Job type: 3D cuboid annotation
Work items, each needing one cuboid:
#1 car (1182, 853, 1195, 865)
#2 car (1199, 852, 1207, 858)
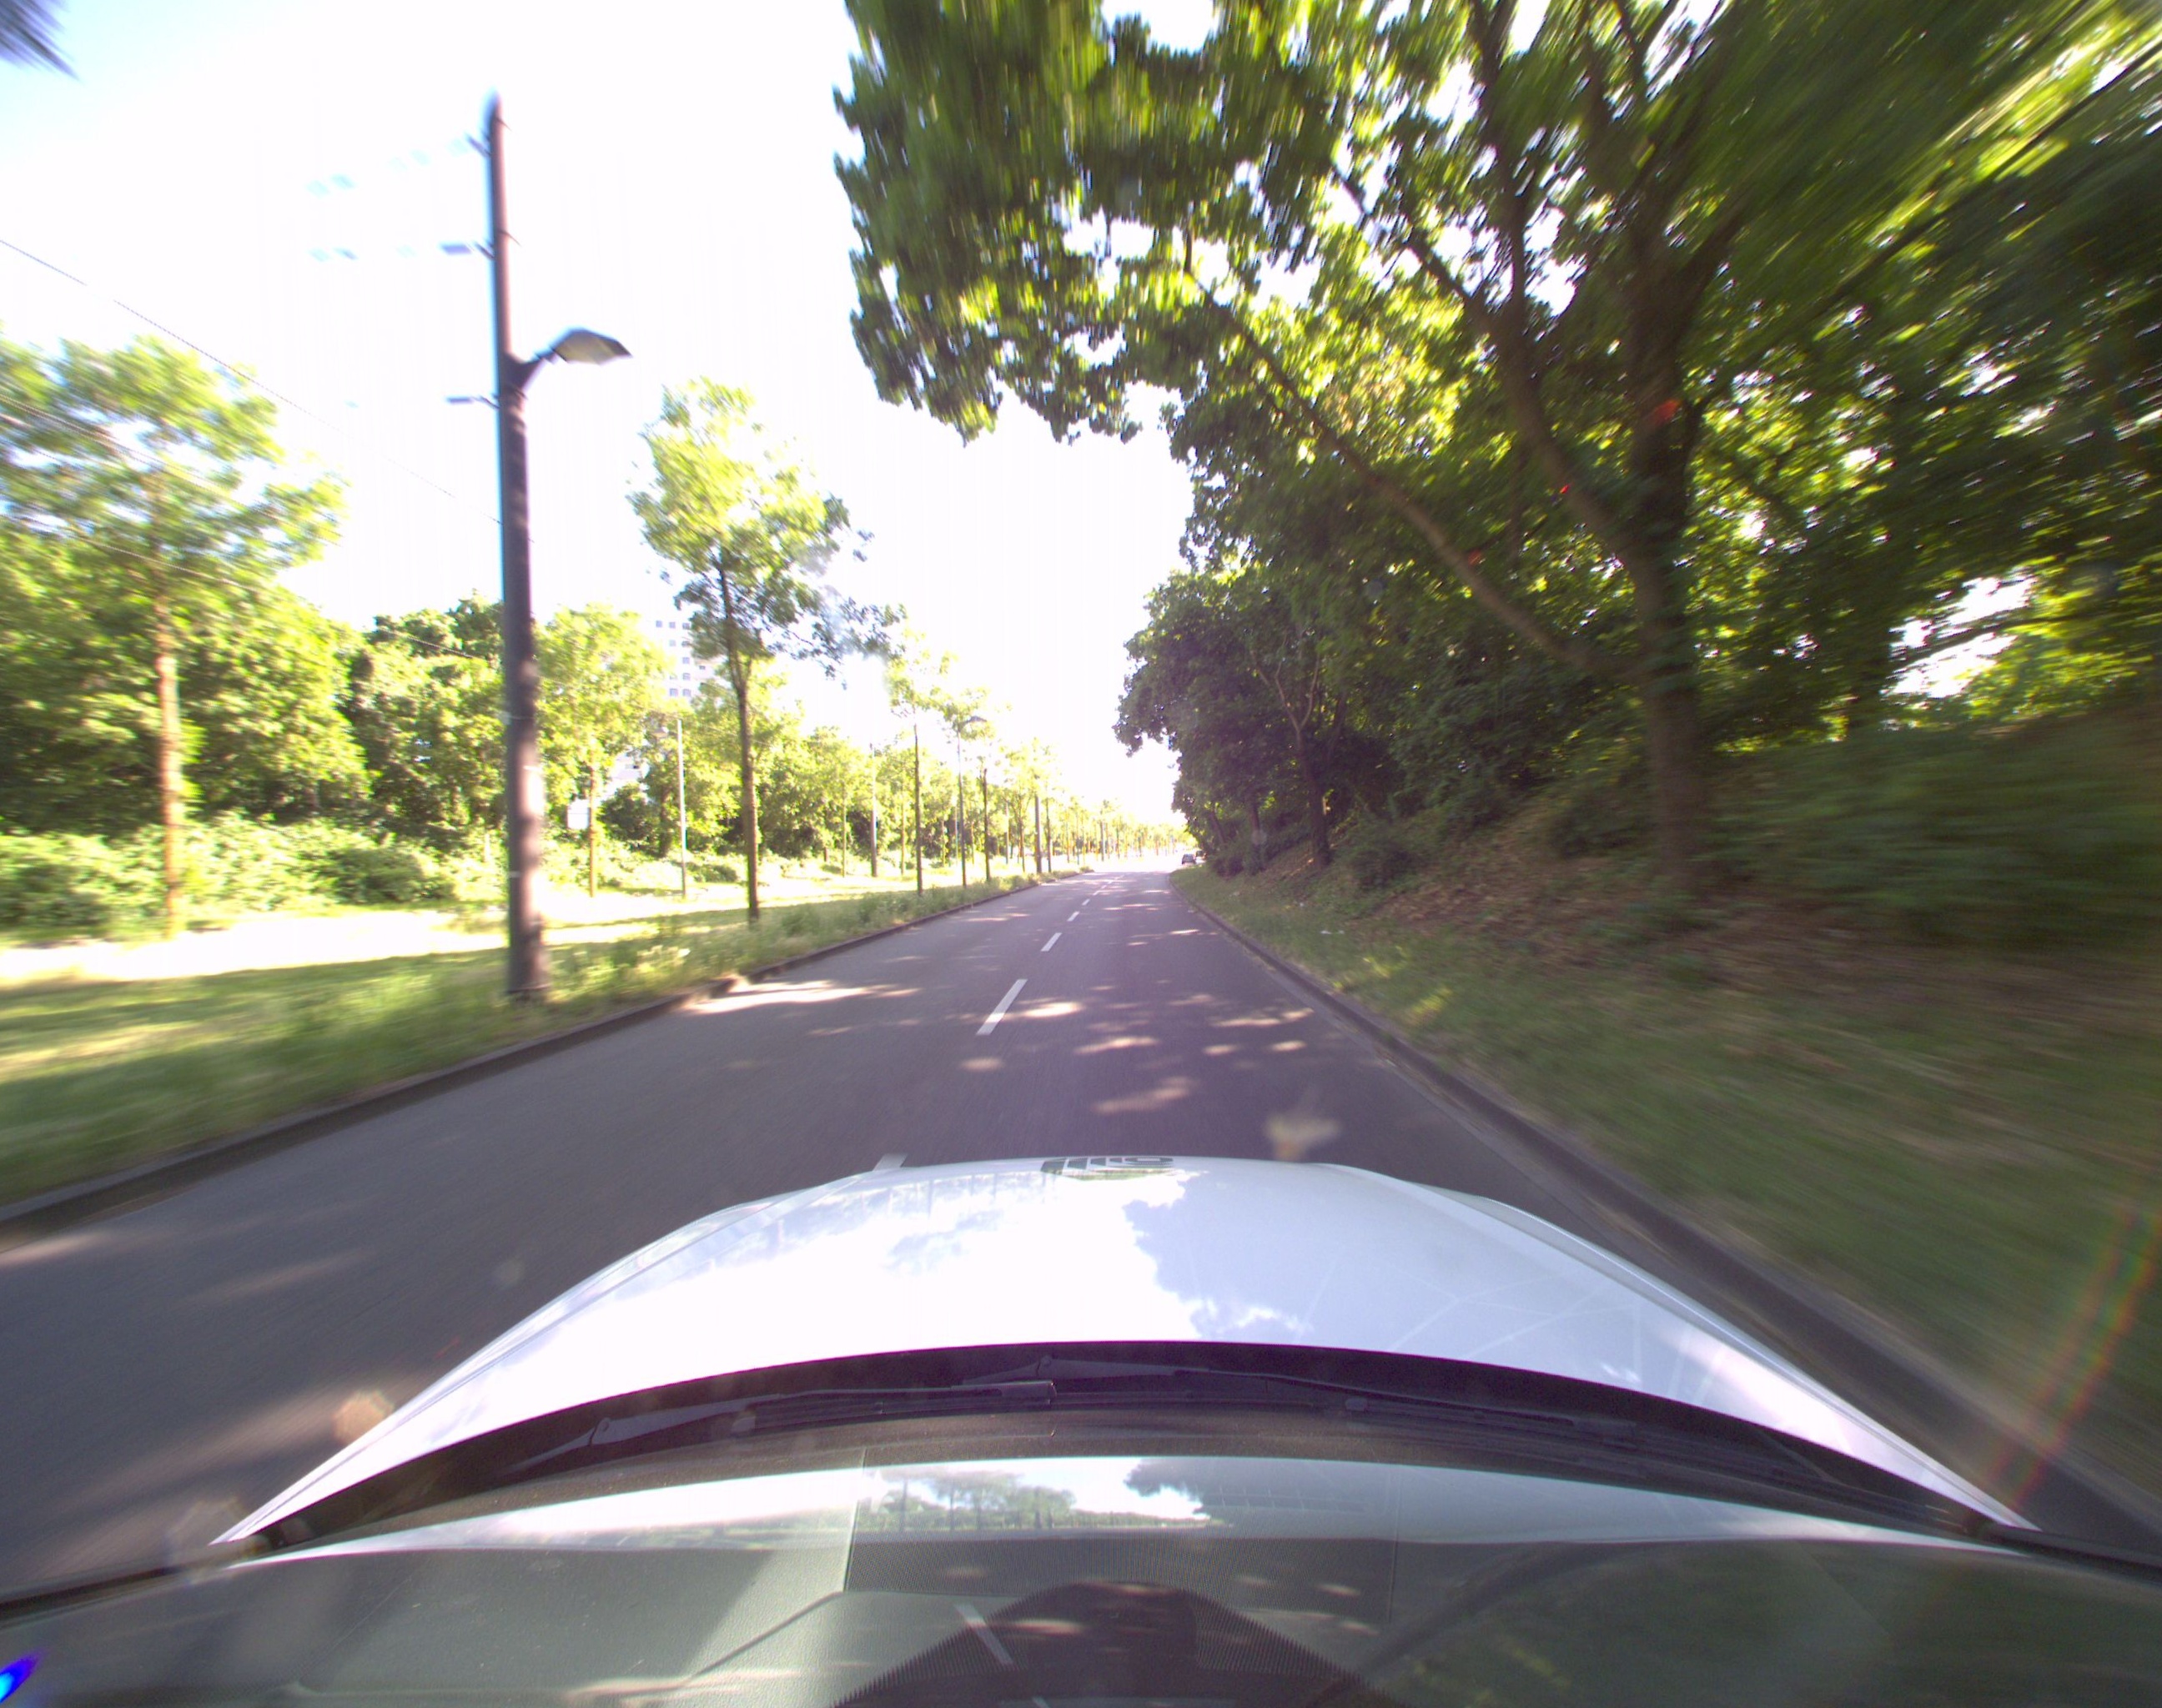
[{"bbox_3d":[14.212,0.694,107.730,1.624,1.498,4.245,-1,0,9],"label":"car"},{"bbox_3d":[28.910,0.199,193.068,1.623,1.498,4.248,-1,0,12],"label":"car"}]
